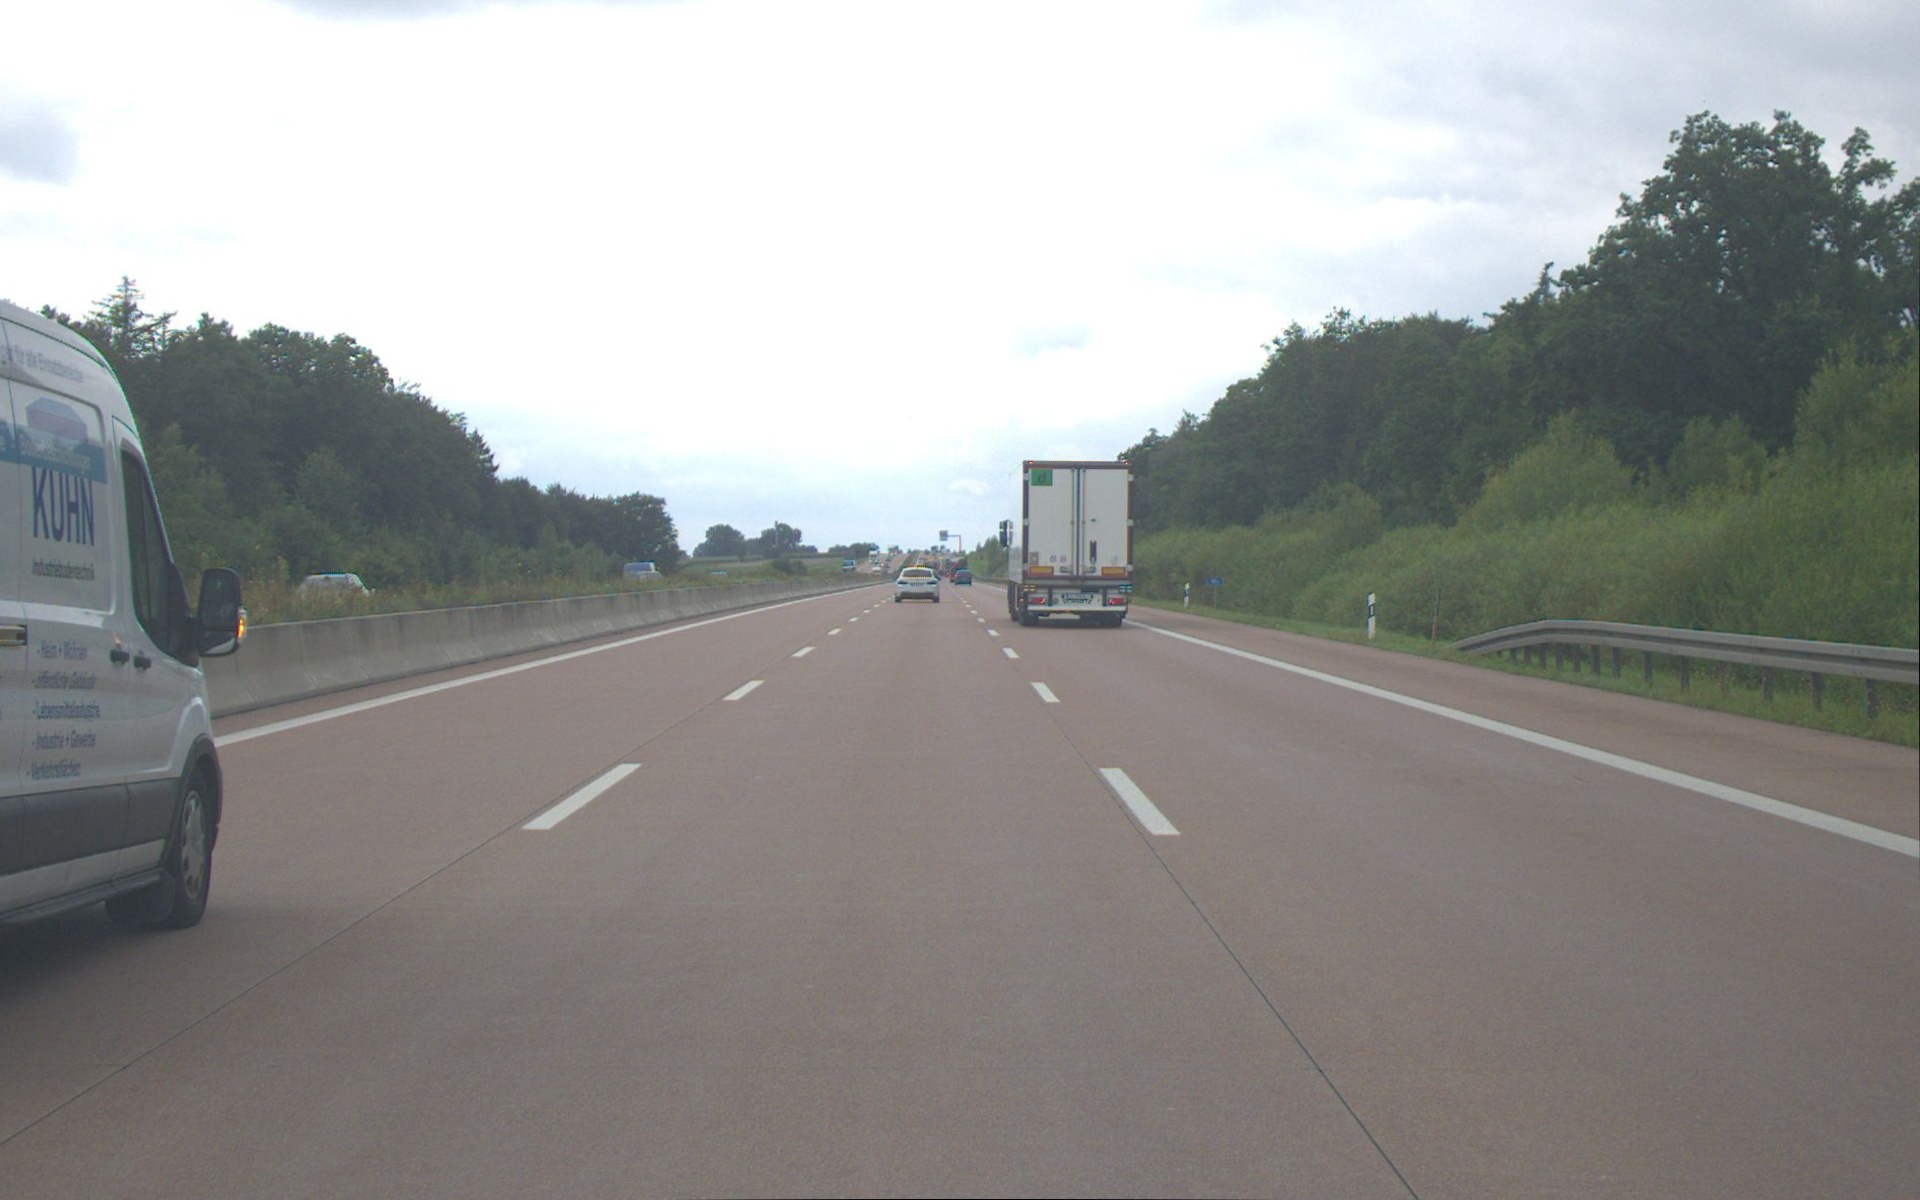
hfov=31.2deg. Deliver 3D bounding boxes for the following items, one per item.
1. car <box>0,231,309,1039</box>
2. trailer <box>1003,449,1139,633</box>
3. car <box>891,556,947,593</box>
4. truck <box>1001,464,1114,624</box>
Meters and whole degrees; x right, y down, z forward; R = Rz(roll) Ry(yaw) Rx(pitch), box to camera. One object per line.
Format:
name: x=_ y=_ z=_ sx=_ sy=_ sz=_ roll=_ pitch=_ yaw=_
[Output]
car: x=-4.047 y=0.082 z=12.233 sx=2.137 sy=2.498 sz=7.132 roll=0 pitch=1 yaw=0
trailer: x=2.682 y=-1.427 z=87.082 sx=2.921 sy=4.279 sz=13.614 roll=0 pitch=0 yaw=0
car: x=-1.726 y=-1.079 z=145.155 sx=2.163 sy=1.446 sz=4.718 roll=1 pitch=1 yaw=1
truck: x=2.652 y=-1.519 z=94.767 sx=2.921 sy=4.279 sz=5.335 roll=0 pitch=0 yaw=0
